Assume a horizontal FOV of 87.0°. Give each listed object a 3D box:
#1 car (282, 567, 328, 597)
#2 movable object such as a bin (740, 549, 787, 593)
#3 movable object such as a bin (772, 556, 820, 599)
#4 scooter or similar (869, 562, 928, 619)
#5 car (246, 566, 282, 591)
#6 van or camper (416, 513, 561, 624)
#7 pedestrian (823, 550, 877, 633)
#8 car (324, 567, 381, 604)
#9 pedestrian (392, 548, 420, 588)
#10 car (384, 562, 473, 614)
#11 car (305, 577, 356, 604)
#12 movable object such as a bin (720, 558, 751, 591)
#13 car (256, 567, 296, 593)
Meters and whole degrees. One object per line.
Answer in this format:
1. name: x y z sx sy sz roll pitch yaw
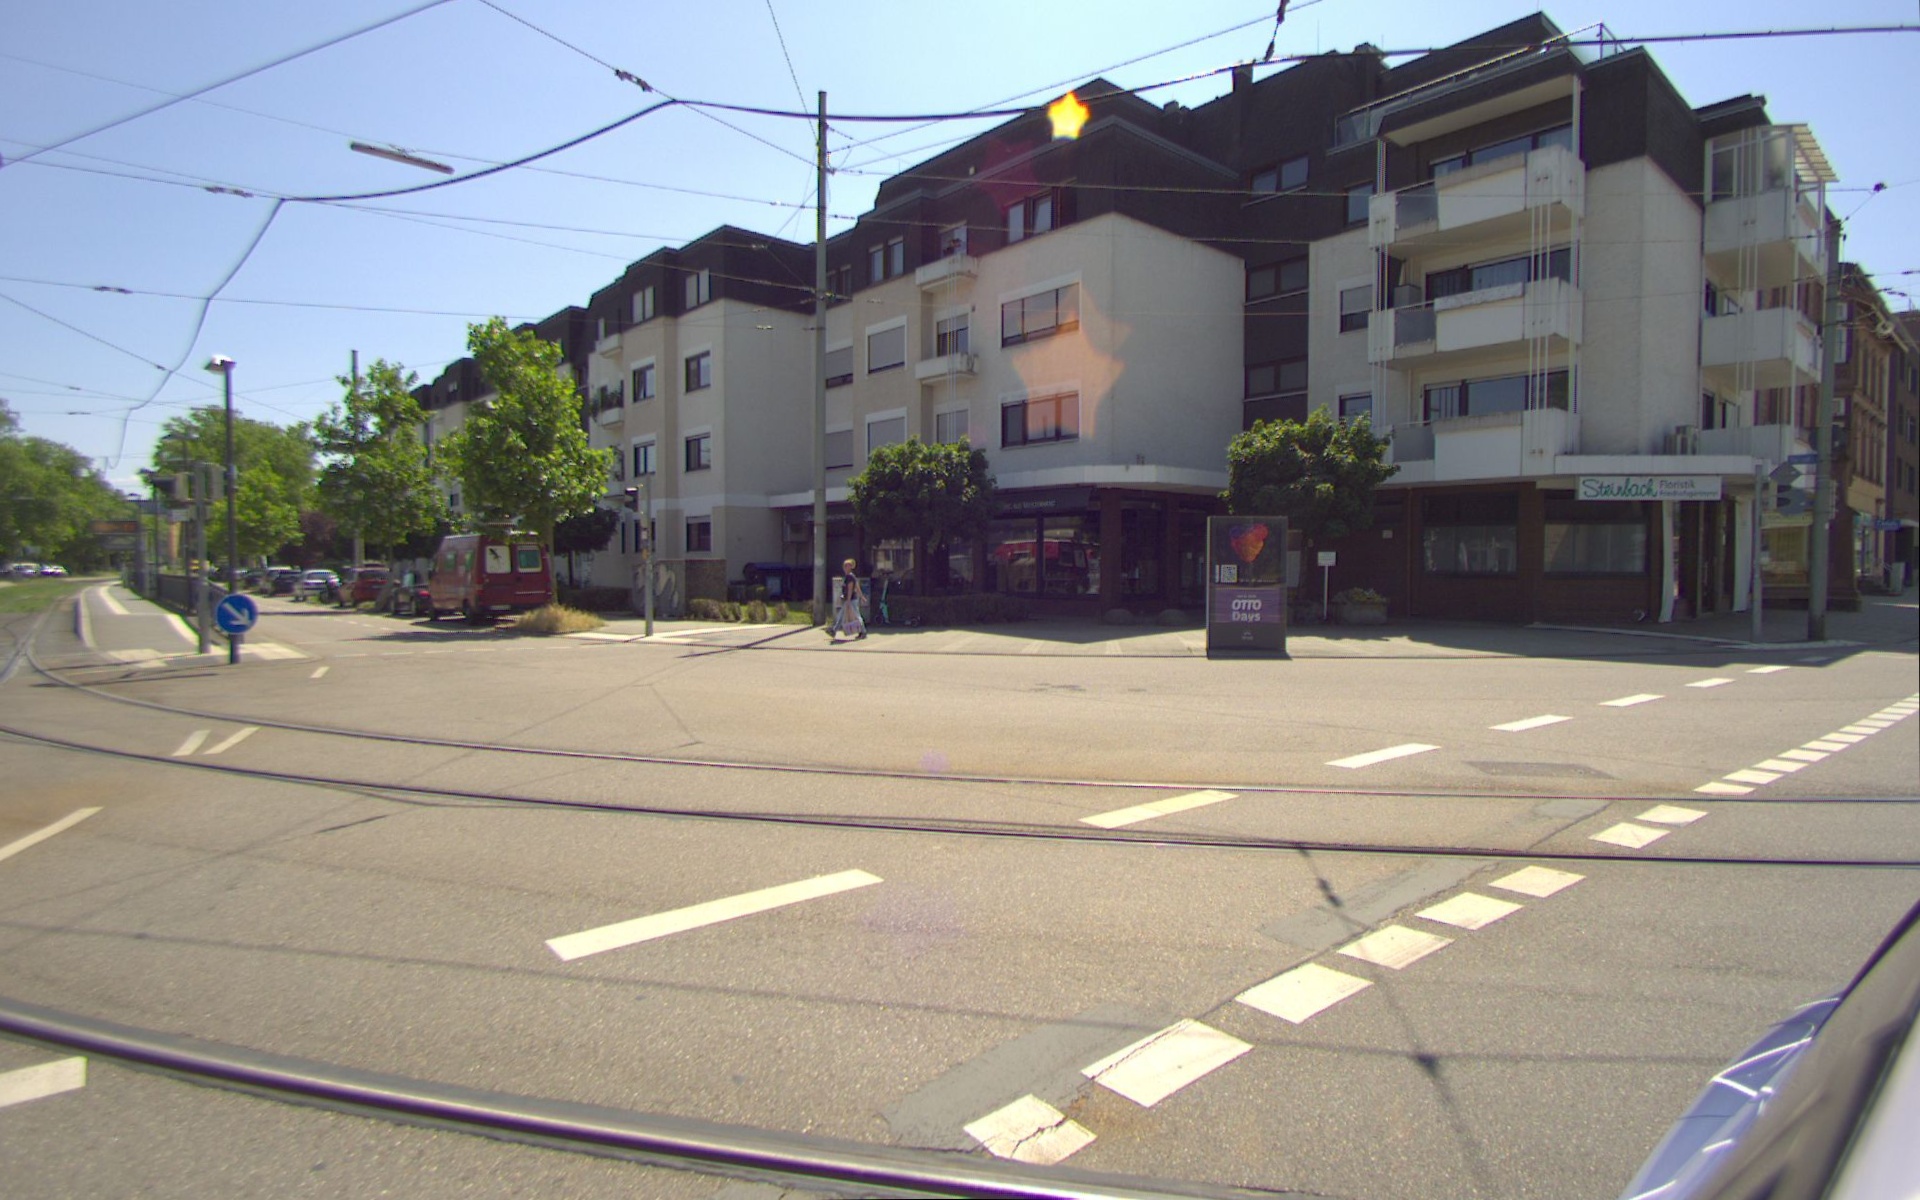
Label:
1. car: -31.403 -0.878 48.474 1.426 1.370 3.359 -2 3 -40
2. movable object such as a bin: -6.586 -0.975 33.939 1.175 1.423 1.058 -3 3 -42
3. movable object such as a bin: -5.617 -0.775 34.628 1.045 1.423 1.320 -3 3 -42
4. scooter or similar: -1.365 -0.208 22.474 1.241 1.227 0.391 0 2 23
5. car: -41.072 -1.280 59.687 1.426 1.370 3.359 -2 3 -40
6. van or camper: -13.184 -0.896 28.120 2.171 2.799 5.231 -2 3 -42
7. pedestrian: -2.215 -0.188 20.303 0.809 1.603 0.830 -2 2 -27
8. car: -24.215 -0.612 40.317 1.426 1.398 3.359 -2 3 -40
9. pedestrian: -25.633 -1.486 46.824 0.911 1.853 1.075 -3 3 -42
10. car: -17.295 -0.436 32.836 1.651 1.566 3.799 -3 3 -42
11. car: -27.765 -0.451 44.606 1.426 1.094 3.359 -2 3 -40
12. movable object such as a bin: -7.398 -0.854 33.363 0.701 1.059 0.743 -3 3 -42
13. car: -37.616 -1.132 55.638 1.426 1.370 3.359 -2 3 -40
